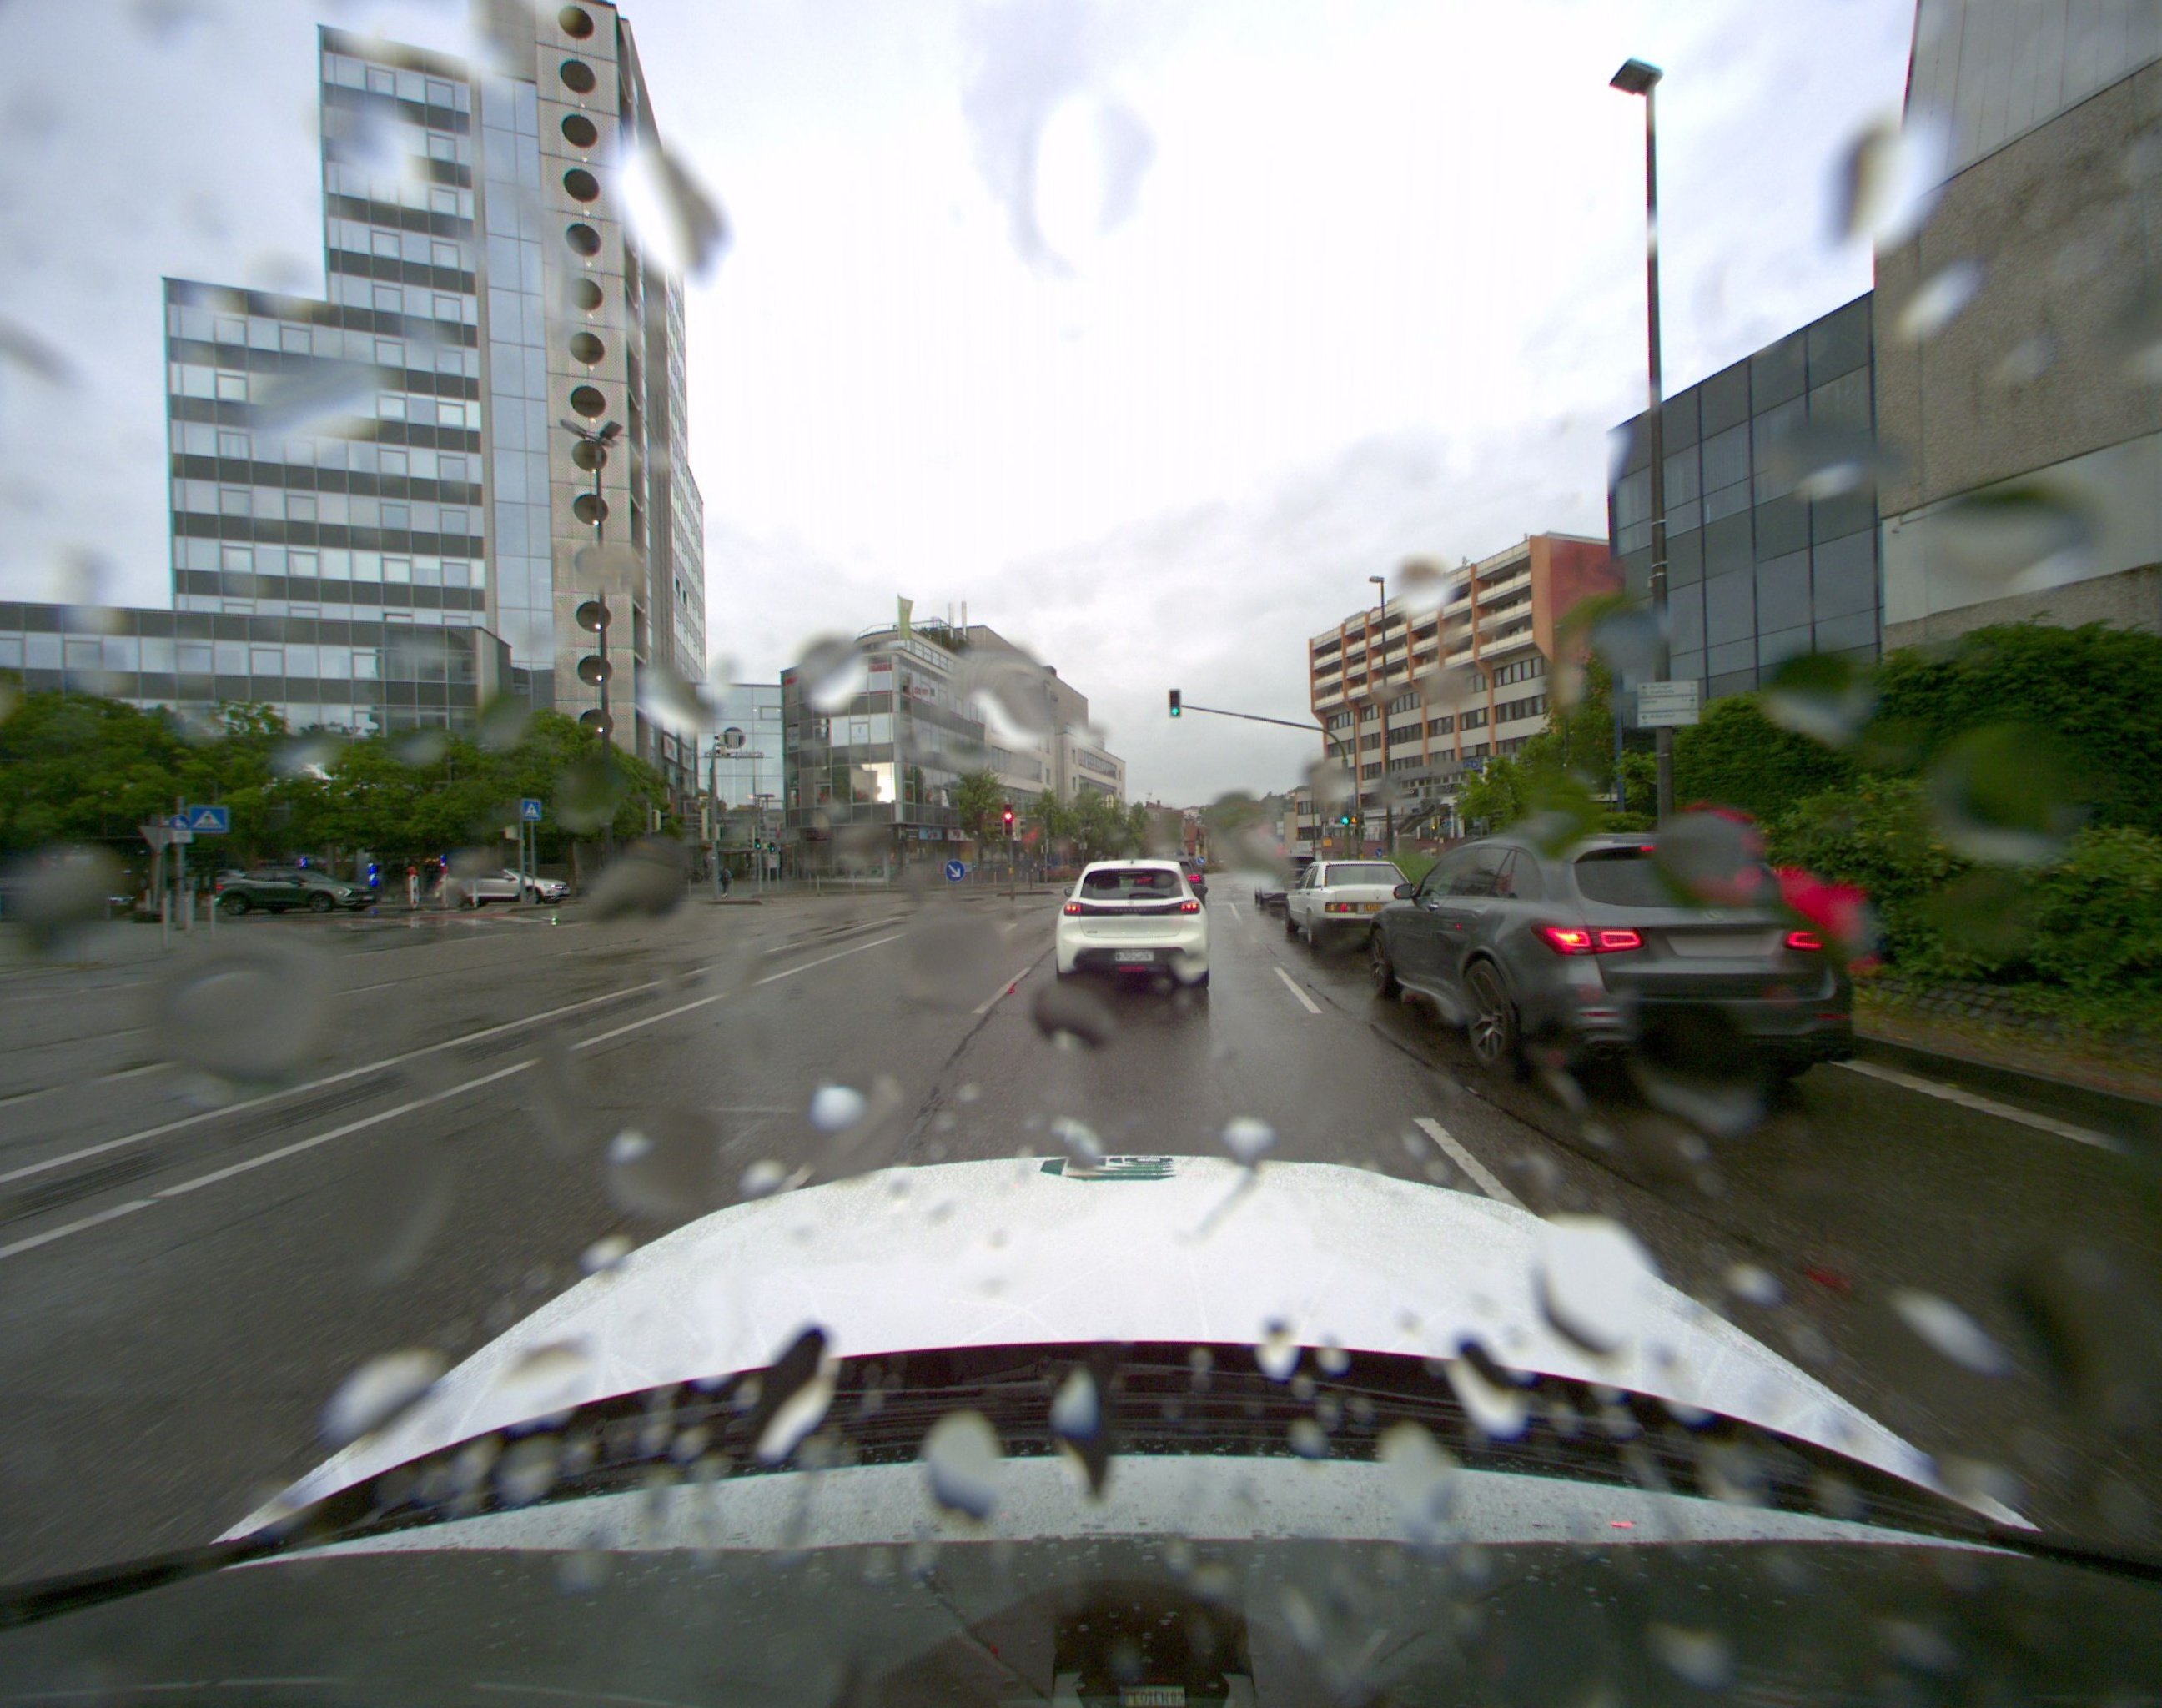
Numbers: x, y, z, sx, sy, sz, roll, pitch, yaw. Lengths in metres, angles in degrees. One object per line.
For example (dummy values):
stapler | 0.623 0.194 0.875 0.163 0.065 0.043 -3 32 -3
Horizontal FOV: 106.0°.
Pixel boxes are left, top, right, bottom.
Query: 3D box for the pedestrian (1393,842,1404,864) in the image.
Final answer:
pedestrian | 23.011 -0.077 58.988 0.702 1.607 0.659 2 1 19

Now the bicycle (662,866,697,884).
bicycle | -30.025 1.561 60.913 2.279 1.247 0.672 -2 -1 -18

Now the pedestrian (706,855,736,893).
pedestrian | -17.993 0.986 40.726 0.839 1.819 1.028 -2 -1 16

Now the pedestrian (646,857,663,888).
pedestrian | -28.777 1.249 54.945 0.710 2.013 0.764 -1 0 -3

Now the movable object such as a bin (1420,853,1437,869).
movable object such as a bin | 29.638 0.596 69.453 1.122 1.332 1.460 -1 2 14

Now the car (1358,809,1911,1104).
car | 3.799 0.566 6.705 1.892 1.621 4.341 -1 0 5

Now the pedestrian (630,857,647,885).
pedestrian | -29.786 1.142 54.806 0.833 1.868 0.749 -2 0 -17

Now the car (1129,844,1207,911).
car | 2.347 0.563 21.365 1.805 1.530 3.821 -3 0 8

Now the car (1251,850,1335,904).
car | 6.014 0.618 23.466 1.901 1.400 3.465 -1 -1 7

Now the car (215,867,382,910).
car | -28.785 1.258 30.100 4.045 1.420 1.864 -1 0 -10

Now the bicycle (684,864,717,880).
bicycle | -30.761 1.435 65.888 2.279 1.247 0.672 -2 -1 -18

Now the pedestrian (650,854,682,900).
pedestrian | -18.754 1.028 36.871 1.167 2.013 1.318 -1 0 -23

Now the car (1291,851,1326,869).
car | 31.428 0.861 112.428 2.001 2.226 4.939 -2 -1 -22

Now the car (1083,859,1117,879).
car | 1.655 1.244 69.357 1.907 1.632 4.919 -1 0 12

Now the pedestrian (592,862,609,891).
pedestrian | -31.553 1.446 53.429 0.758 1.868 0.823 -1 -1 -43

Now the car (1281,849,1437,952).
car | 4.445 0.663 13.635 1.625 1.448 4.277 0 0 7

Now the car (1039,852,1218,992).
car | 0.694 0.719 10.499 1.862 1.462 3.879 -1 0 6

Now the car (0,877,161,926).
car | -36.086 1.674 29.058 3.987 1.595 1.864 0 1 -10

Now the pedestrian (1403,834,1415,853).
pedestrian | 23.819 -0.781 59.180 0.702 1.345 0.658 -3 -2 17

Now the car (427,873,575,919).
car | -22.131 1.571 31.244 4.191 1.595 1.864 0 0 -9

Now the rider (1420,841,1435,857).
rider | 29.550 -0.394 69.388 0.916 1.284 1.095 -5 0 14
